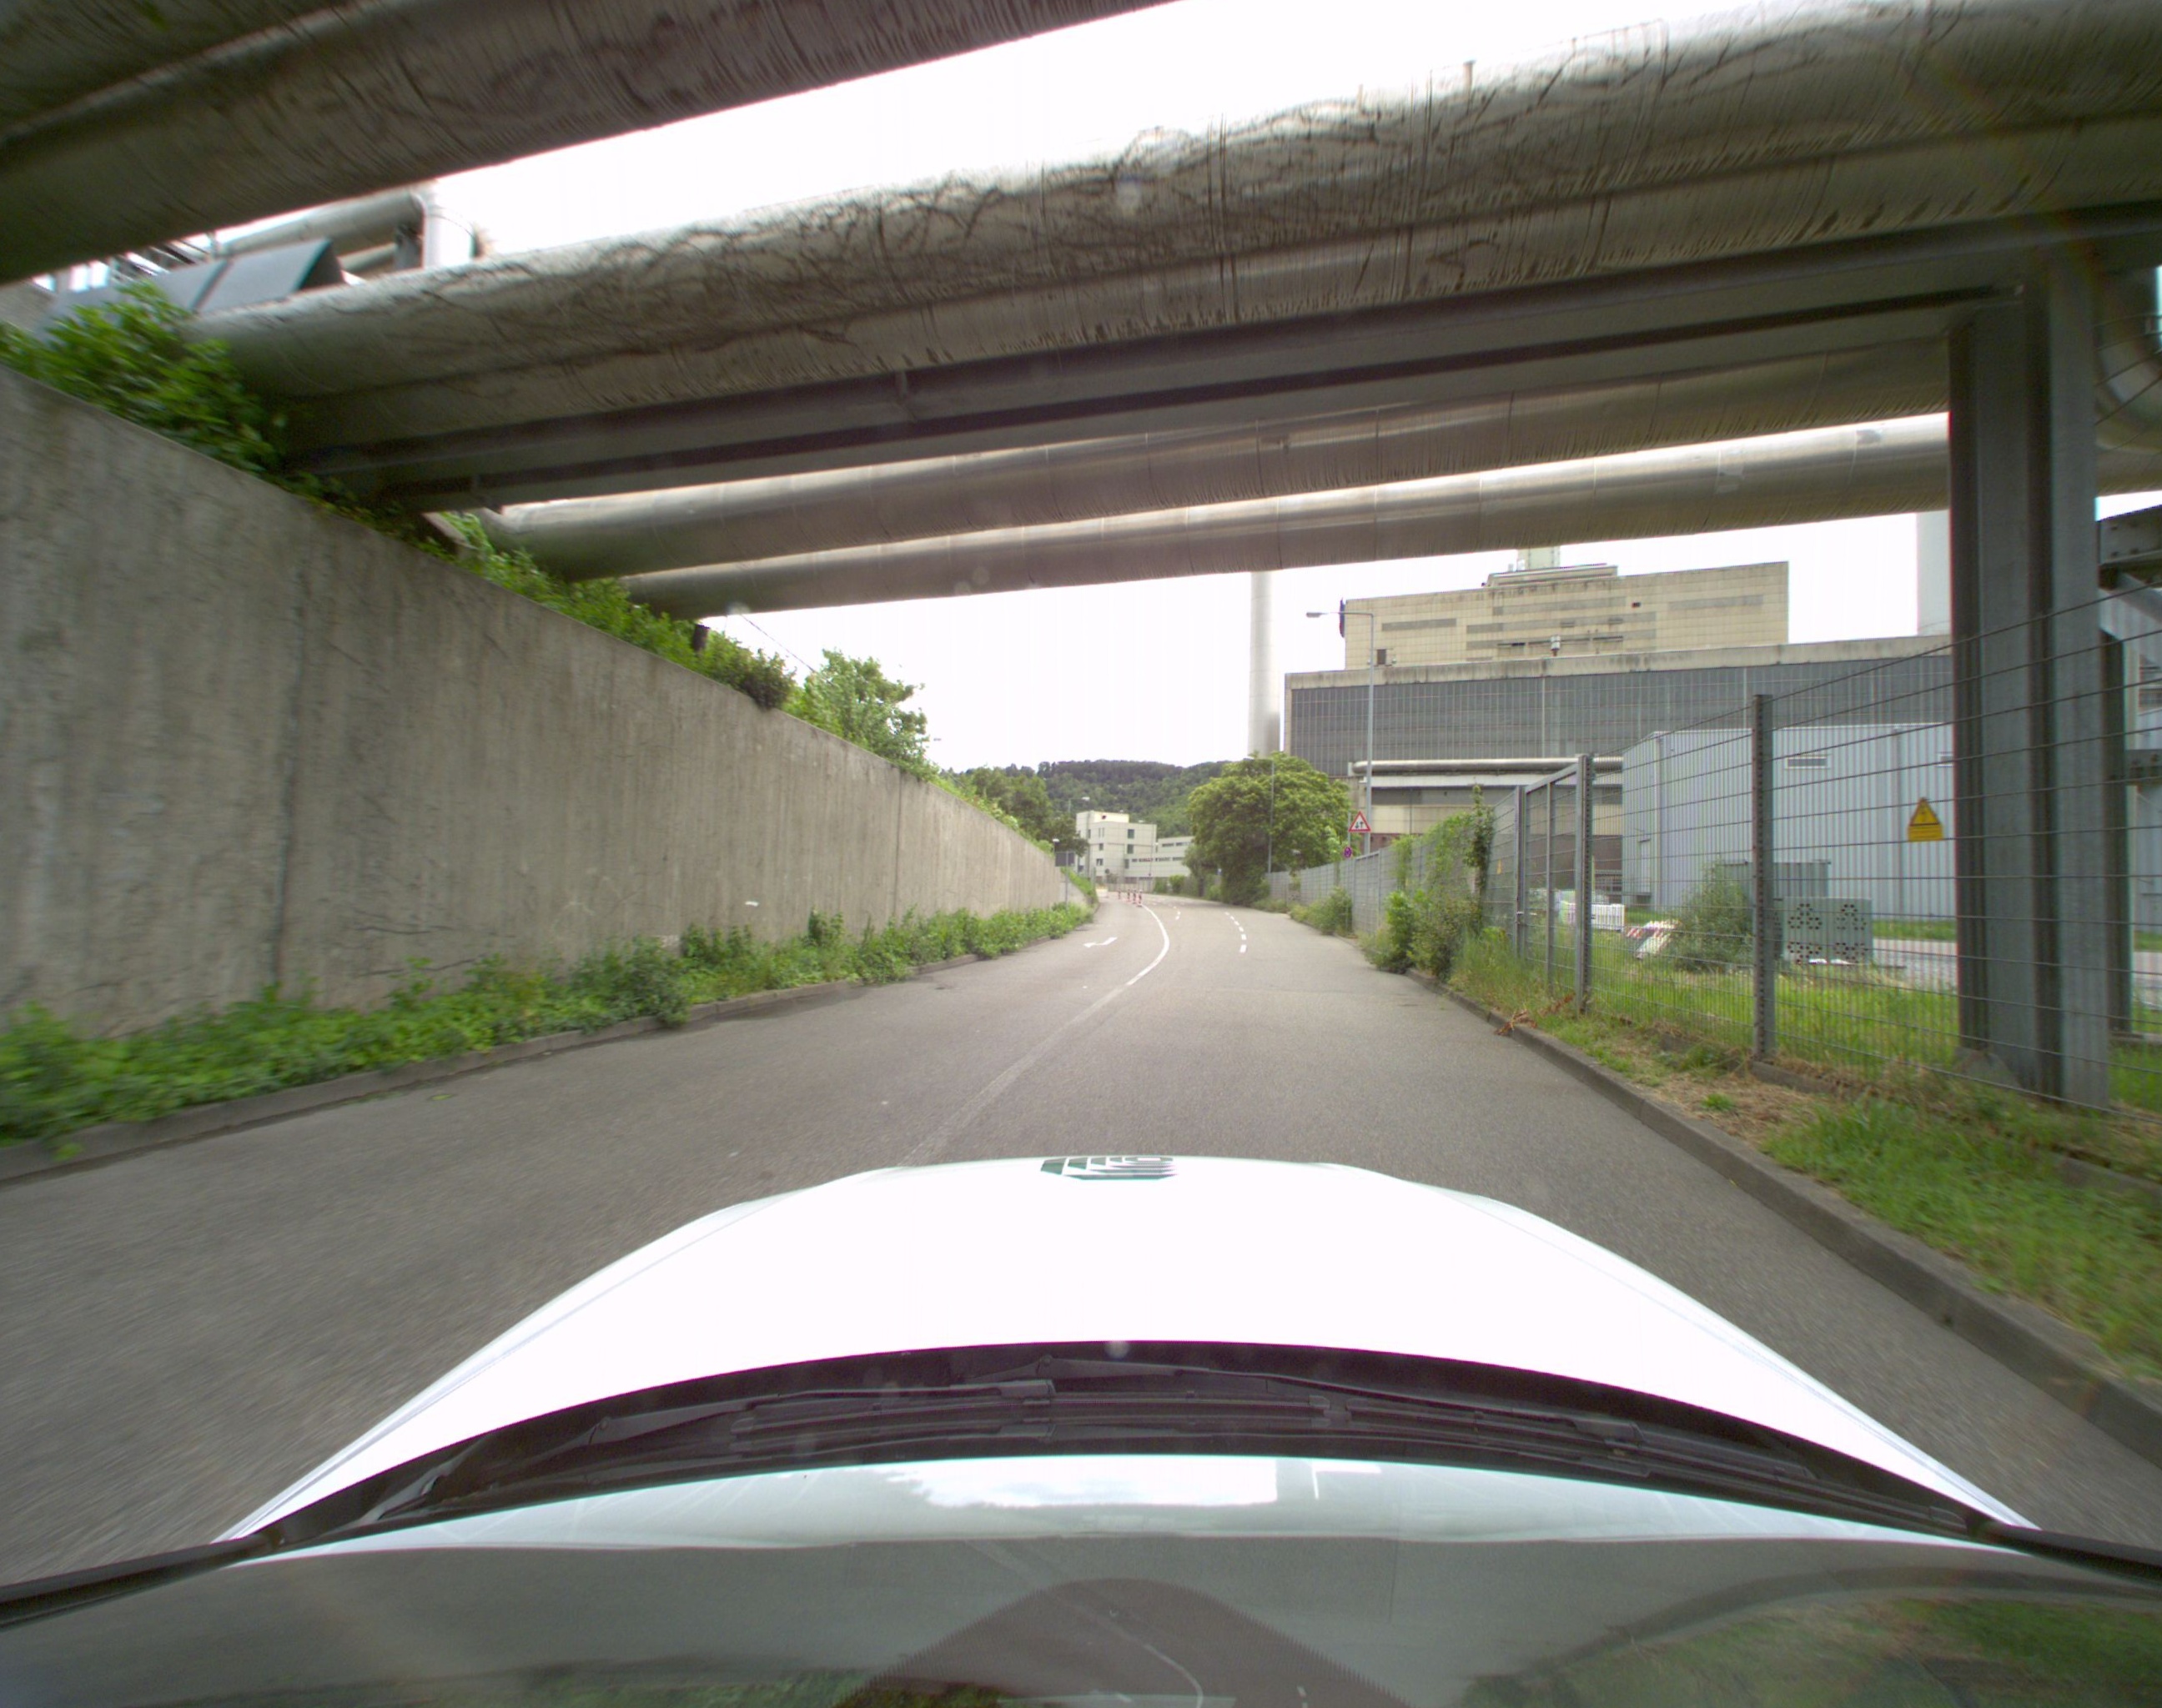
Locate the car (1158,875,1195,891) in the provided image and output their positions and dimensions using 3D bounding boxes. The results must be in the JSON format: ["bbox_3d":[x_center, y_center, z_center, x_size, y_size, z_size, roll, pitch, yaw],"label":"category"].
[{"bbox_3d":[15.820,4.789,134.764,2.010,2.263,6.097,5,-1,-42],"label":"car"}]

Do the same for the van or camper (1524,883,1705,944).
[{"bbox_3d":[44.676,4.991,68.705,11.765,4.532,5.485,2,-4,1],"label":"van or camper"}]
